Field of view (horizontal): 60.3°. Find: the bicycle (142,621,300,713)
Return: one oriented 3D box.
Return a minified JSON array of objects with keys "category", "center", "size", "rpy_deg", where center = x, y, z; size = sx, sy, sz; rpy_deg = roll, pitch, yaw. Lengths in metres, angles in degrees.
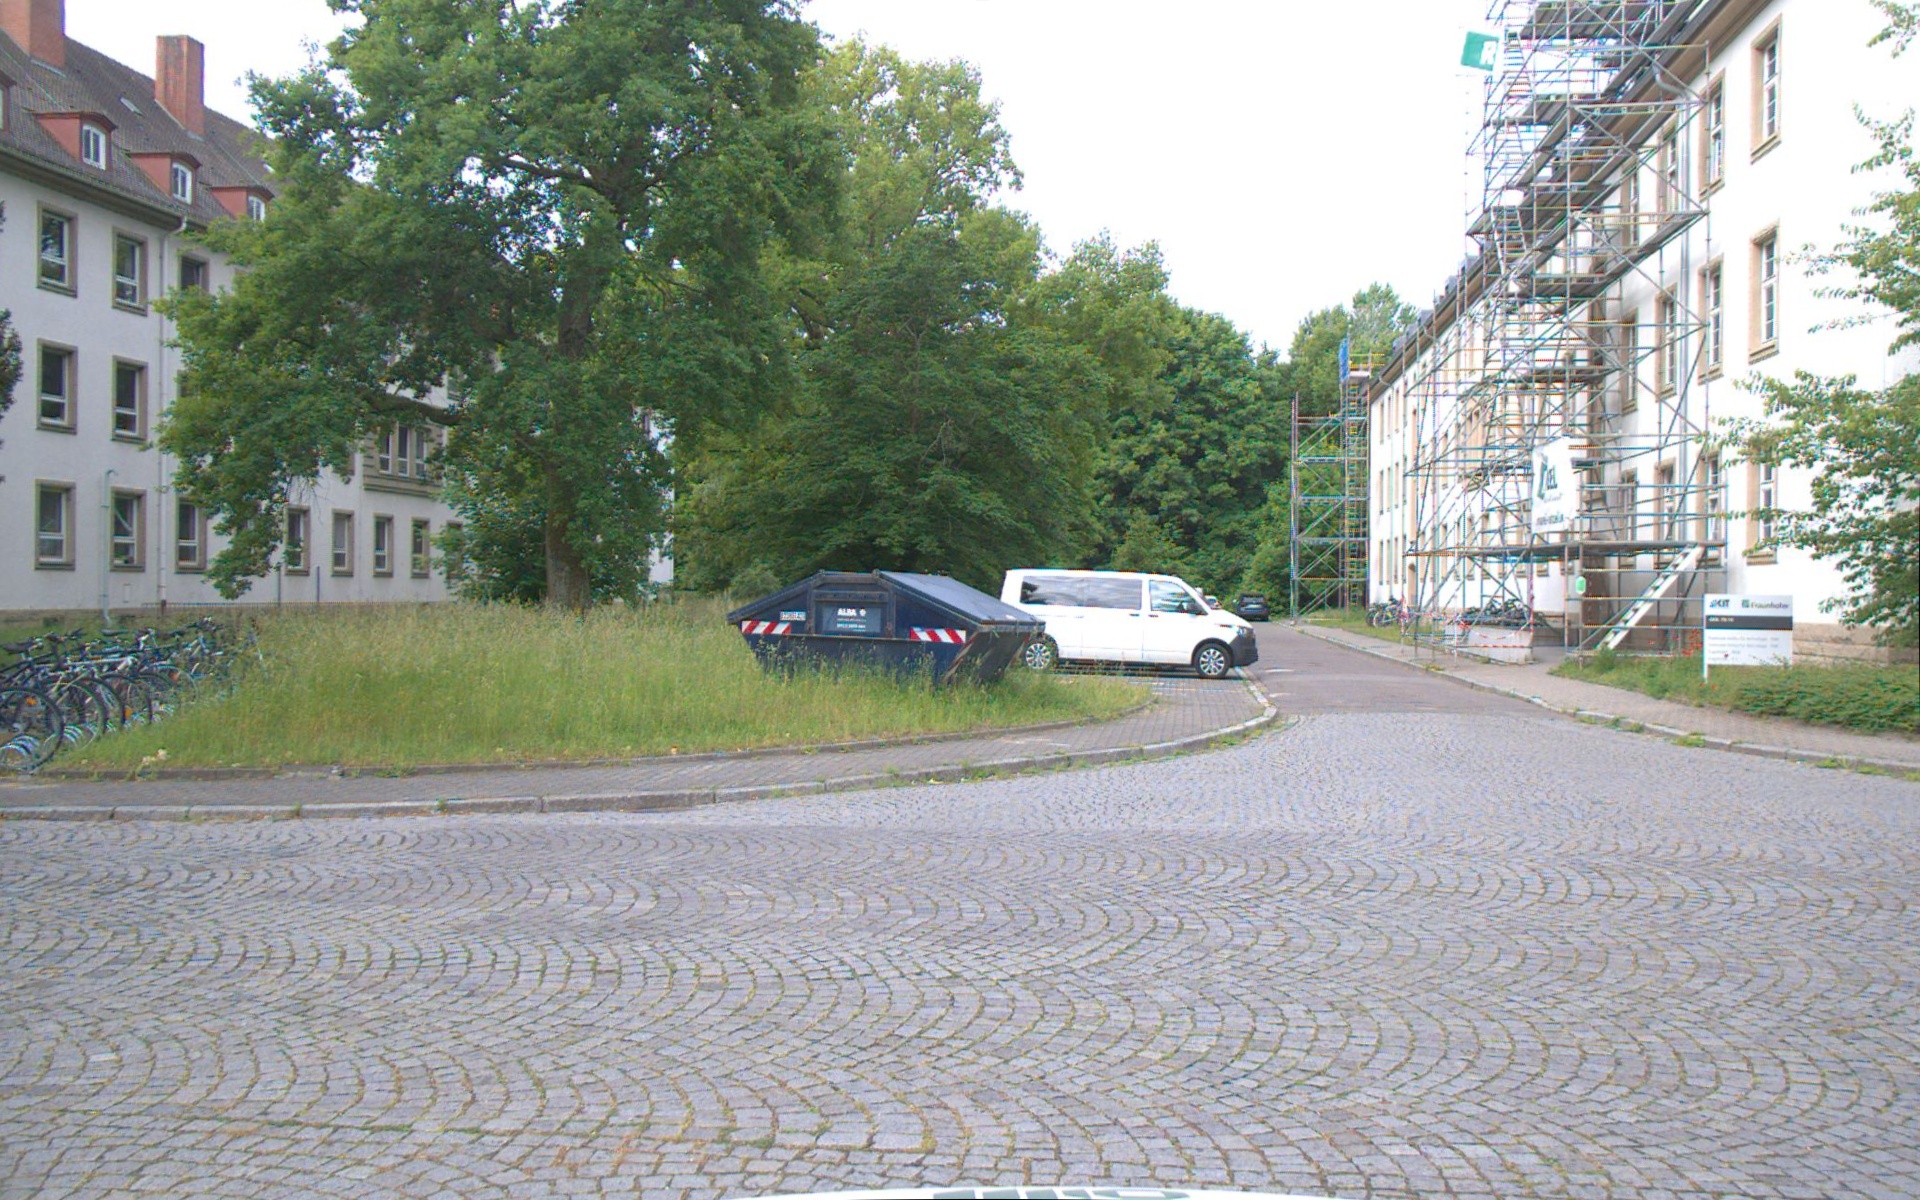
[{"category":"bicycle","center":[-9.254,0.833,20.749],"size":[1.727,1.131,0.477],"rpy_deg":[0,0,-9]}]

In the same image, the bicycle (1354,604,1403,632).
[{"category":"bicycle","center":[16.643,0.703,65.794],"size":[1.821,1.114,0.510],"rpy_deg":[0,0,30]}]

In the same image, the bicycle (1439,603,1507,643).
[{"category":"bicycle","center":[14.529,0.653,46.885],"size":[1.816,1.114,0.511],"rpy_deg":[0,0,15]}]

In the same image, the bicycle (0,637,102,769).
[{"category":"bicycle","center":[-8.276,0.887,14.173],"size":[1.596,1.093,0.474],"rpy_deg":[-1,0,-24]}]

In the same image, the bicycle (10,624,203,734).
[{"category":"bicycle","center":[-8.970,0.822,17.419],"size":[1.727,1.131,0.477],"rpy_deg":[0,0,-9]}]

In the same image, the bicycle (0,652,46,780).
[{"category":"bicycle","center":[-8.394,0.963,13.472],"size":[1.596,1.025,0.474],"rpy_deg":[-1,0,-24]}]

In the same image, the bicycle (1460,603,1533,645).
[{"category":"bicycle","center":[14.359,0.638,44.294],"size":[1.816,1.114,0.511],"rpy_deg":[0,0,15]}]

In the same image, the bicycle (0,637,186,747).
[{"category":"bicycle","center":[-8.672,0.909,16.502],"size":[1.631,1.025,0.477],"rpy_deg":[-1,0,-9]}]

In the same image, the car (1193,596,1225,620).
[{"category":"car","center":[14.231,0.440,94.629],"size":[1.545,1.362,3.956],"rpy_deg":[0,0,5]}]

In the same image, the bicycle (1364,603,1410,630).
[{"category":"bicycle","center":[17.790,0.678,68.915],"size":[1.816,1.114,0.511],"rpy_deg":[0,0,15]}]

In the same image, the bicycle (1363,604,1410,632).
[{"category":"bicycle","center":[17.415,0.725,67.576],"size":[1.821,1.114,0.510],"rpy_deg":[0,0,30]}]

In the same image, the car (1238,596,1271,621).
[{"category":"car","center":[16.753,0.479,94.265],"size":[1.545,1.395,3.956],"rpy_deg":[0,0,5]}]

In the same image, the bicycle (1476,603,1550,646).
[{"category":"bicycle","center":[14.599,0.639,43.710],"size":[1.816,1.114,0.511],"rpy_deg":[0,0,15]}]

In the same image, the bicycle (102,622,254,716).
[{"category":"bicycle","center":[-9.521,0.834,20.164],"size":[1.613,1.131,0.442],"rpy_deg":[0,0,-3]}]

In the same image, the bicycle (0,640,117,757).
[{"category":"bicycle","center":[-8.666,0.902,15.103],"size":[1.631,1.025,0.477],"rpy_deg":[-1,0,-9]}]

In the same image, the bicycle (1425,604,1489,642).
[{"category":"bicycle","center":[14.800,0.668,49.265],"size":[1.816,1.114,0.511],"rpy_deg":[0,0,15]}]

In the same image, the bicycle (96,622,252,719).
[{"category":"bicycle","center":[-9.327,0.834,19.643],"size":[1.613,1.131,0.442],"rpy_deg":[0,0,-3]}]

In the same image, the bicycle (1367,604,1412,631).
[{"category":"bicycle","center":[18.084,0.746,69.675],"size":[1.816,1.114,0.511],"rpy_deg":[0,0,15]}]

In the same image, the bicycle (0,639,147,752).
[{"category":"bicycle","center":[-8.692,0.905,15.725],"size":[1.631,1.025,0.477],"rpy_deg":[-1,0,-9]}]

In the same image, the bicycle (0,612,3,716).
[{"category":"bicycle","center":[-11.909,0.736,18.802],"size":[1.713,1.191,0.551],"rpy_deg":[0,0,-1]}]

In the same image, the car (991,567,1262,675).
[{"category":"car","center":[3.270,0.387,32.545],"size":[5.147,2.031,1.970],"rpy_deg":[0,0,7]}]

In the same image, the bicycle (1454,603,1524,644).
[{"category":"bicycle","center":[14.653,0.650,45.865],"size":[1.816,1.114,0.511],"rpy_deg":[0,0,15]}]

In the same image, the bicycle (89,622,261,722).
[{"category":"bicycle","center":[-9.109,0.828,19.229],"size":[1.727,1.131,0.477],"rpy_deg":[0,0,-9]}]

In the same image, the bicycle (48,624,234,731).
[{"category":"bicycle","center":[-8.859,0.826,17.944],"size":[1.730,1.131,0.476],"rpy_deg":[0,0,-15]}]
